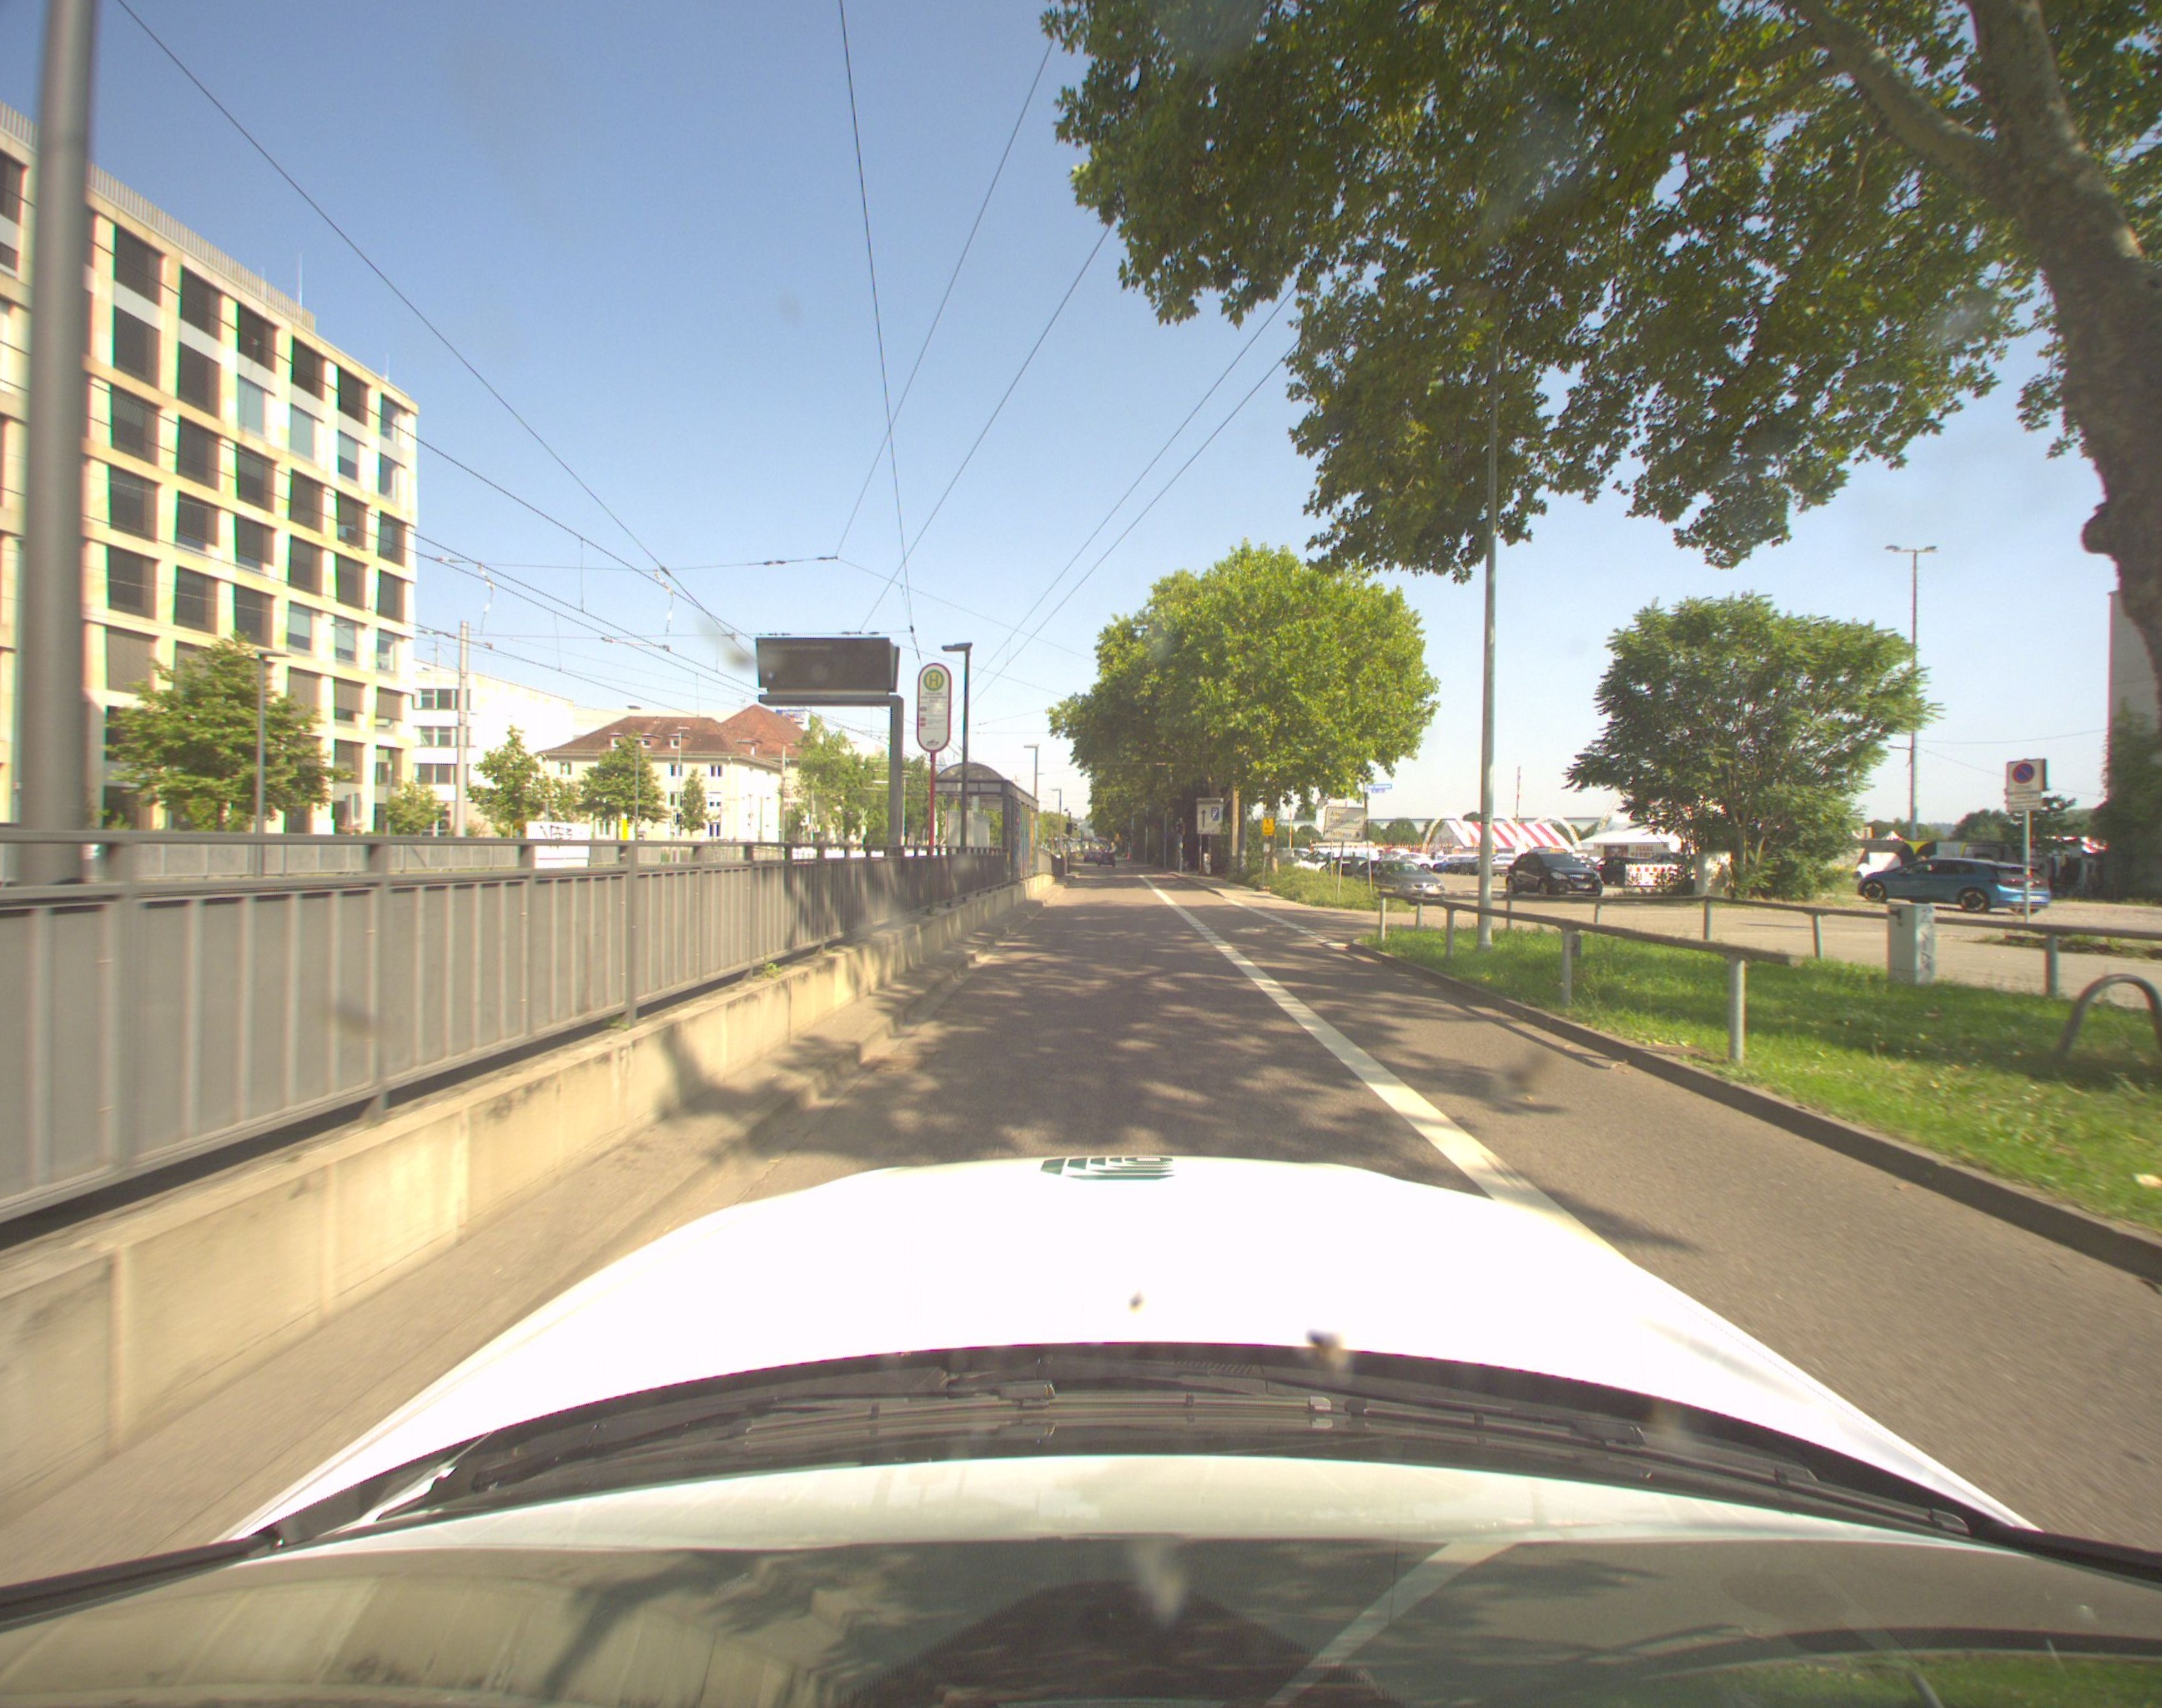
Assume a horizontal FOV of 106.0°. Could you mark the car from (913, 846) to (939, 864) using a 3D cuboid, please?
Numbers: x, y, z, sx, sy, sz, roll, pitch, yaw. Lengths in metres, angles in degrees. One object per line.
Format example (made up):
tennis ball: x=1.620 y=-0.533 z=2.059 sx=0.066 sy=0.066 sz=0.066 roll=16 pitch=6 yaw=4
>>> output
car: x=-16.675 y=0.086 z=87.769 sx=1.987 sy=1.837 sz=4.001 roll=1 pitch=0 yaw=1

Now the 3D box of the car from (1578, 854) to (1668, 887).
car: x=27.065 y=0.794 z=40.820 sx=1.807 sy=1.492 sz=4.118 roll=1 pitch=1 yaw=1

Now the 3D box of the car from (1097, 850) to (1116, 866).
car: x=2.548 y=0.413 z=82.141 sx=1.901 sy=1.537 sz=4.000 roll=-1 pitch=1 yaw=0

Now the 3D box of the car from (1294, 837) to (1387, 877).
car: x=12.878 y=0.135 z=40.576 sx=4.085 sy=1.918 sz=1.850 roll=-1 pitch=0 yaw=4

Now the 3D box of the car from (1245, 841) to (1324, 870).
car: x=11.460 y=0.080 z=45.967 sx=3.974 sy=1.586 sz=2.000 roll=1 pitch=0 yaw=0

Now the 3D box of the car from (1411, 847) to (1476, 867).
car: x=29.145 y=0.232 z=65.552 sx=4.331 sy=1.464 sz=1.947 roll=1 pitch=0 yaw=-1

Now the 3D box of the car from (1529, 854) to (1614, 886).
car: x=24.419 y=0.763 z=40.700 sx=1.807 sy=1.395 sz=4.118 roll=1 pitch=1 yaw=1

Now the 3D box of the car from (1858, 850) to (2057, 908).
car: x=26.675 y=0.699 z=25.007 sx=1.701 sy=1.575 sz=3.951 roll=2 pitch=1 yaw=-4

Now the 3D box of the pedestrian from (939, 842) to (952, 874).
pedestrian: x=-7.718 y=0.228 z=46.421 sx=0.707 sy=1.821 sz=0.771 roll=-1 pitch=-1 yaw=-8

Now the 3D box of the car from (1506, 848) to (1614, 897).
car: x=16.581 y=0.581 z=28.395 sx=1.602 sy=1.575 sz=3.798 roll=0 pitch=1 yaw=1

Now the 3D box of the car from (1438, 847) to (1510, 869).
car: x=28.794 y=0.311 z=59.712 sx=4.331 sy=1.464 sz=1.947 roll=1 pitch=0 yaw=-1

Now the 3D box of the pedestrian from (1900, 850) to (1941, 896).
pedestrian: x=30.644 y=0.689 z=29.742 sx=0.920 sy=1.643 sz=0.706 roll=-1 pitch=-1 yaw=34

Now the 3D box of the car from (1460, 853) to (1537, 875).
car: x=29.156 y=0.681 z=57.012 sx=4.371 sy=1.464 sz=1.950 roll=1 pitch=0 yaw=4

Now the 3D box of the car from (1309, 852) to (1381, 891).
car: x=10.721 y=0.671 z=33.308 sx=1.721 sy=1.448 sz=4.118 roll=0 pitch=1 yaw=1

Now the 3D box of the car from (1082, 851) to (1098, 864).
car: x=1.111 y=0.432 z=100.539 sx=1.967 sy=1.537 sz=4.000 roll=-3 pitch=0 yaw=0

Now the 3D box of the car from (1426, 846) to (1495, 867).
car: x=28.832 y=0.195 z=61.922 sx=4.331 sy=1.464 sz=1.947 roll=1 pitch=0 yaw=-1

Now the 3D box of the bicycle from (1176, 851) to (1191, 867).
bicycle: x=7.047 y=0.348 z=56.099 sx=0.609 sy=1.022 sz=2.400 roll=1 pitch=0 yaw=-3

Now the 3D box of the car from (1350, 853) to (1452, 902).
car: x=10.464 y=0.720 z=27.029 sx=1.721 sy=1.448 sz=4.552 roll=0 pitch=1 yaw=1

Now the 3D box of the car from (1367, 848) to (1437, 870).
car: x=23.190 y=0.354 z=59.007 sx=4.331 sy=1.464 sz=1.947 roll=1 pitch=0 yaw=-1
